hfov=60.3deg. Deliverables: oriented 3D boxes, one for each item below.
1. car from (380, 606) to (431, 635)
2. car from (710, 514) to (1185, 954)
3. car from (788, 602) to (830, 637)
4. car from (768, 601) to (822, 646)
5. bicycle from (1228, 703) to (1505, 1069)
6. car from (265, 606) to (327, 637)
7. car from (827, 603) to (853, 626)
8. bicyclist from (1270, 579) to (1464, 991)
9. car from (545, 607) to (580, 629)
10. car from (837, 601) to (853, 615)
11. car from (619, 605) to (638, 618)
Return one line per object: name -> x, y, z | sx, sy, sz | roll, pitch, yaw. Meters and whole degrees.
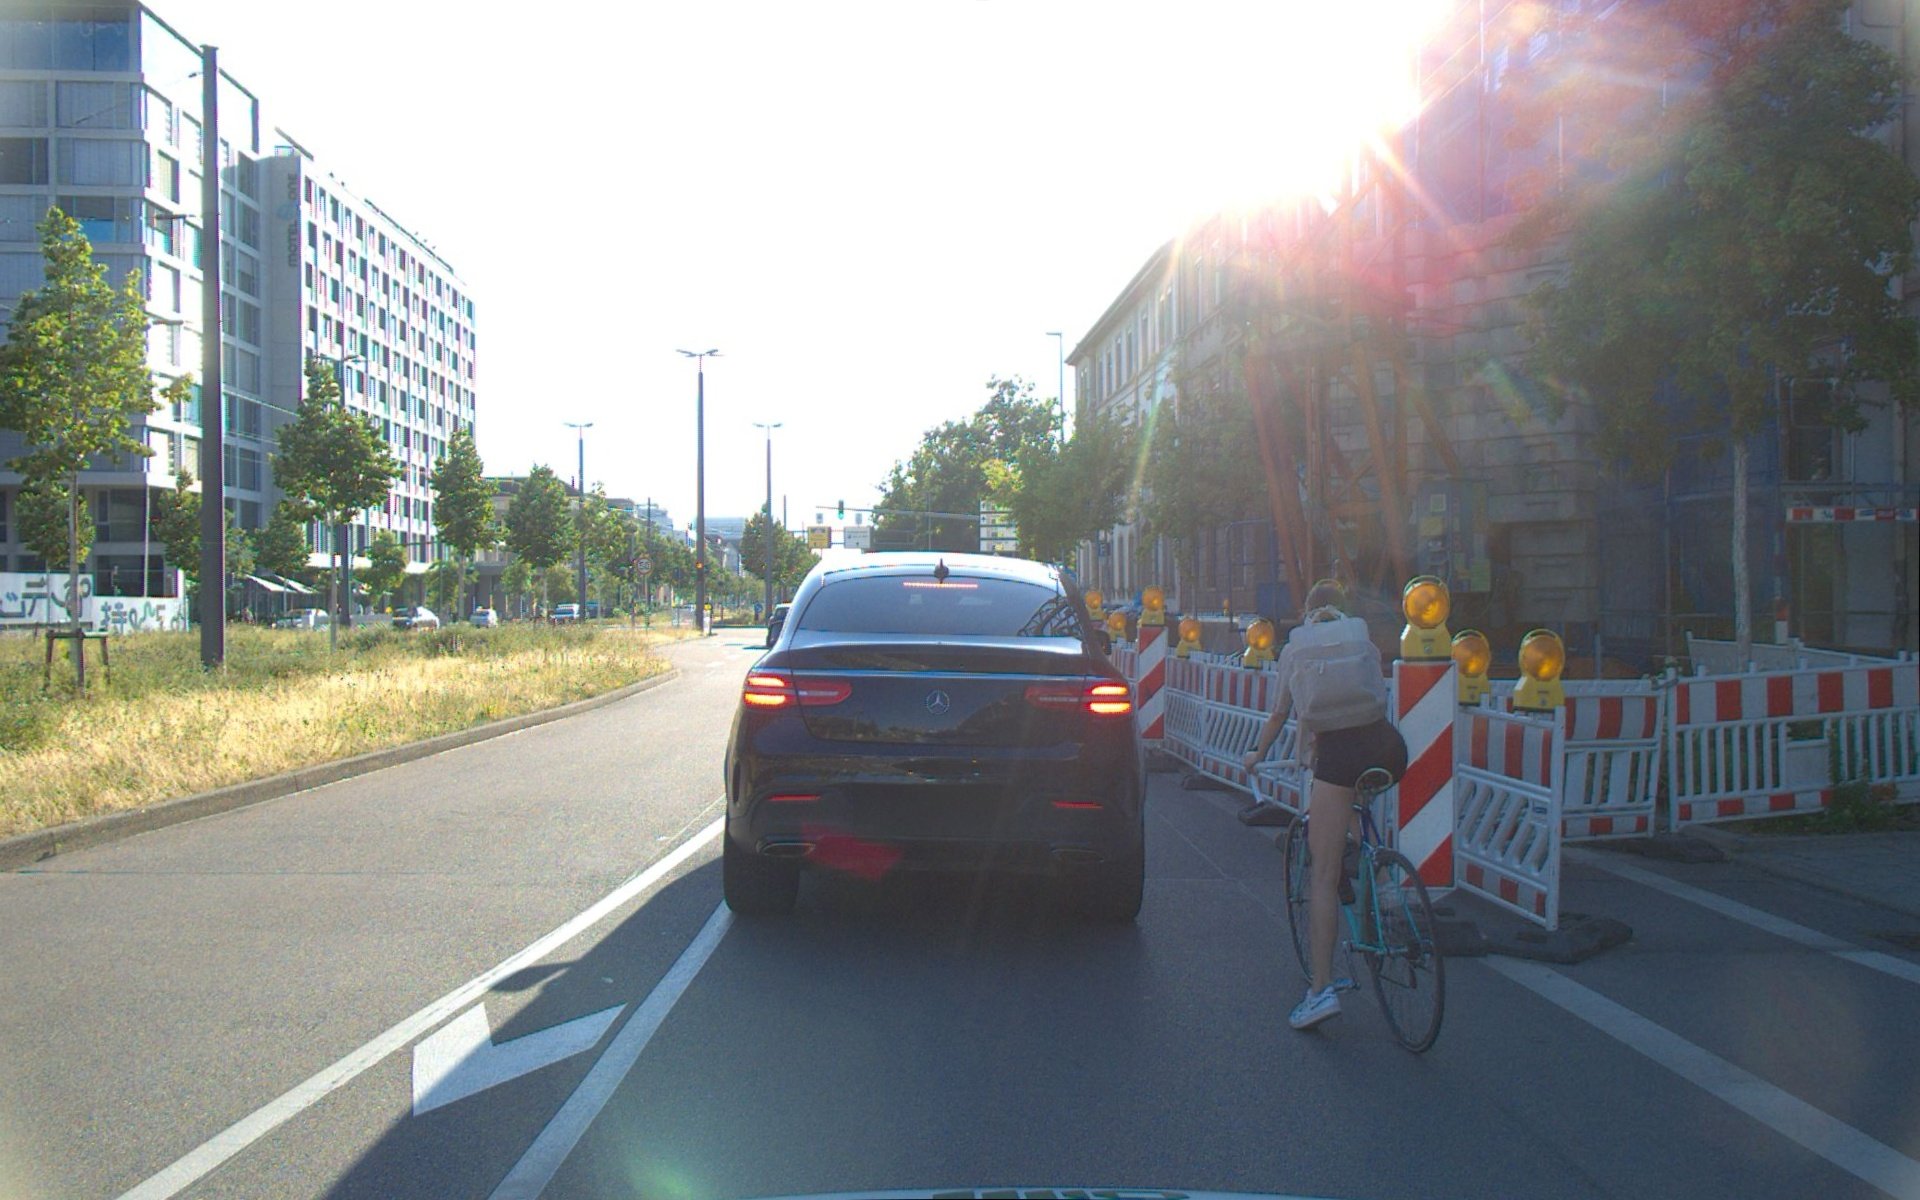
car -> -29.872, 1.093, 89.188 | 1.674, 1.467, 3.580 | 1, 0, -3
car -> -0.077, 0.569, 8.896 | 1.953, 1.803, 3.999 | 1, 0, -1
car -> -6.618, 0.842, 72.767 | 1.674, 1.467, 3.580 | 1, 0, -3
car -> -5.681, 0.803, 57.181 | 1.674, 1.467, 3.580 | 1, 0, -3
bicycle -> 1.448, 0.974, 6.177 | 0.502, 1.070, 1.724 | 1, 0, -3
car -> -31.853, 1.019, 79.426 | 1.674, 1.467, 3.580 | 1, 0, -3
car -> -8.039, 0.983, 111.047 | 1.674, 1.467, 3.580 | 1, 0, -3
bicyclist -> 1.469, 0.643, 6.035 | 0.512, 1.420, 0.614 | 1, -1, -4
car -> -27.500, 1.237, 114.430 | 1.674, 1.467, 3.580 | 1, 0, -3
car -> -12.808, 0.908, 183.662 | 1.674, 1.467, 3.580 | 1, 0, -3
car -> -39.069, 1.370, 194.937 | 1.674, 1.467, 3.580 | 1, 0, -3
